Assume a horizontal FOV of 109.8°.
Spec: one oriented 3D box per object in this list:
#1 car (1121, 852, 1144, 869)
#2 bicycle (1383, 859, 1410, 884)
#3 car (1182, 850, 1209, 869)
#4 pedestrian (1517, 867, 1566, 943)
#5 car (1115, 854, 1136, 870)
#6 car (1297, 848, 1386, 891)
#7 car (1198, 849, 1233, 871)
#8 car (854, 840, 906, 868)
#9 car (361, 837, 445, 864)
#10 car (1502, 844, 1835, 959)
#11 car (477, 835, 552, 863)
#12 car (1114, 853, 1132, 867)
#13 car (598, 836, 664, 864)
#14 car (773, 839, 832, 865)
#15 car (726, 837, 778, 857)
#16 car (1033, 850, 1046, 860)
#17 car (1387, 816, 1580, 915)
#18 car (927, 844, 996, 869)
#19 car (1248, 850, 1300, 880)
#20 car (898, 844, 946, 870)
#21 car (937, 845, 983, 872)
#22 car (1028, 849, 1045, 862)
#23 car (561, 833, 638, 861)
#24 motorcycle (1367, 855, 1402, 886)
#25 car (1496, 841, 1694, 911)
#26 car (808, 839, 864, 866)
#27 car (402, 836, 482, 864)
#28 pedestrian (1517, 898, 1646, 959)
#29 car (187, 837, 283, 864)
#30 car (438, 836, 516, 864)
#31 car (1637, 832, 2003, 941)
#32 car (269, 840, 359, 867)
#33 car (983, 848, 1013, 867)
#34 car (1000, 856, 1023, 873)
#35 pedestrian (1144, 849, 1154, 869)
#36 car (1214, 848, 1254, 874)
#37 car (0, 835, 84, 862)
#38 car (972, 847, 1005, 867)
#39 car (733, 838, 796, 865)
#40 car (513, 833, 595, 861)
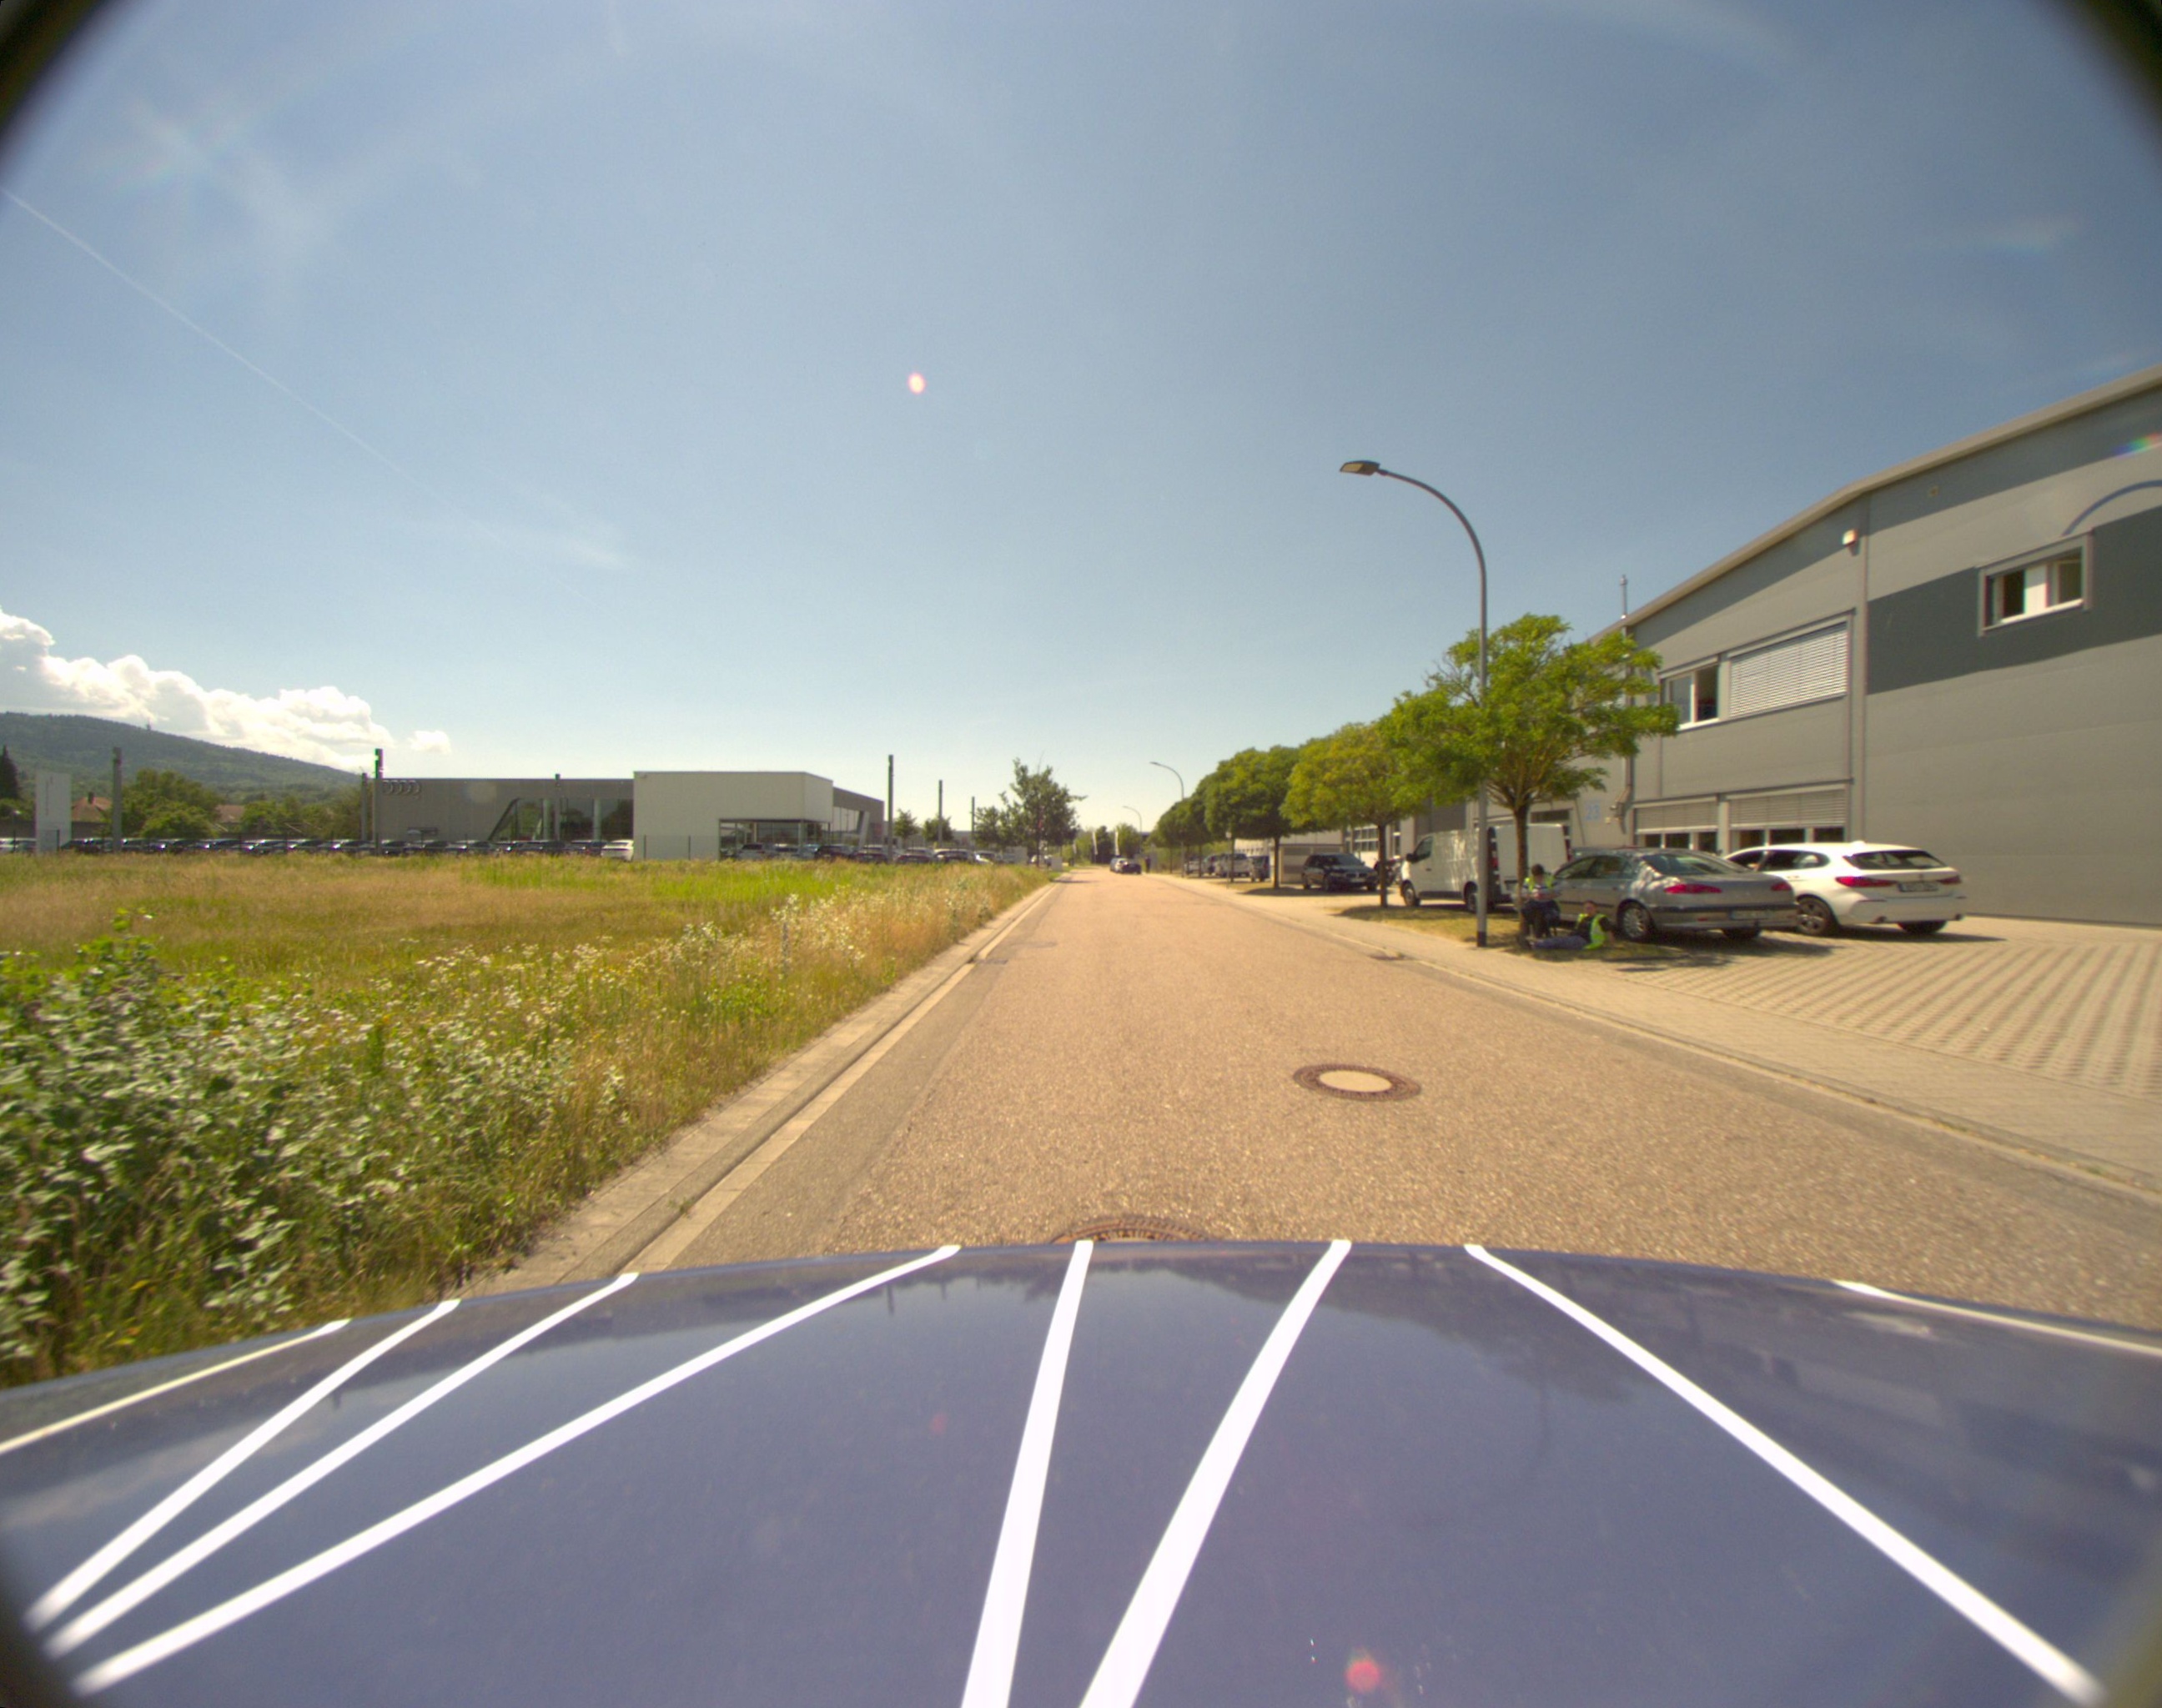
[{"bbox_3d":[4.752,0.569,70.122,1.829,1.491,4.525,1,0,0],"label":"car"},{"bbox_3d":[13.075,0.697,31.498,0.352,0.972,1.697,-2,0,-1],"label":"bicycle"},{"bbox_3d":[10.011,0.454,66.575,1.828,1.491,4.328,-2,0,2],"label":"car"},{"bbox_3d":[7.375,0.814,12.179,0.479,1.144,0.555,-3,3,11],"label":"pedestrian"},{"bbox_3d":[4.430,0.795,76.067,1.829,1.491,4.259,1,0,1],"label":"car"},{"bbox_3d":[9.771,0.551,28.937,1.770,1.445,4.714,-2,0,1],"label":"car"},{"bbox_3d":[9.799,0.424,55.543,1.687,1.491,3.703,0,0,-4],"label":"car"},{"bbox_3d":[-13.378,0.022,50.953,2.029,1.715,4.809,2,0,2],"label":"car"},{"bbox_3d":[-45.479,-0.234,51.079,1.998,1.774,4.000,1,0,0],"label":"car"},{"bbox_3d":[9.403,0.625,12.844,1.931,1.432,4.840,-3,1,1],"label":"car"},{"bbox_3d":[-37.868,-0.319,50.934,1.998,1.774,4.000,1,0,0],"label":"car"},{"bbox_3d":[4.785,0.672,87.511,1.829,1.491,4.520,1,0,1],"label":"car"},{"bbox_3d":[-29.976,-0.288,50.777,1.998,1.774,4.000,1,0,0],"label":"car"},{"bbox_3d":[-18.720,-0.118,51.265,2.029,1.644,4.809,2,0,2],"label":"car"},{"bbox_3d":[-26.507,-0.582,61.374,2.030,1.580,4.779,0,0,1],"label":"car"},{"bbox_3d":[-6.729,0.151,123.022,1.824,1.519,4.944,2,0,-1],"label":"car"},{"bbox_3d":[9.510,0.248,18.555,1.842,2.007,5.125,-2,0,-2],"label":"car"},{"bbox_3d":[-8.622,0.176,55.126,4.539,1.683,2.032,2,0,2],"label":"car"},{"bbox_3d":[10.001,0.523,39.624,1.770,1.445,3.840,-1,0,2],"label":"car"},{"bbox_3d":[-10.610,0.166,50.968,2.029,1.601,4.809,2,0,2],"label":"car"},{"bbox_3d":[-8.077,0.300,51.108,2.029,1.683,5.109,2,0,2],"label":"car"},{"bbox_3d":[-5.692,0.138,98.233,1.892,1.562,4.227,3,0,-1],"label":"car"},{"bbox_3d":[-32.428,-0.452,51.364,2.029,1.715,4.809,2,0,2],"label":"car"},{"bbox_3d":[12.215,0.643,30.659,0.516,1.155,2.081,-2,0,-1],"label":"motorcycle"},{"bbox_3d":[12.156,0.470,18.344,1.932,1.432,4.086,-2,0,-1],"label":"car"},{"bbox_3d":[-16.344,-0.091,50.935,2.029,1.670,4.809,2,0,2],"label":"car"},{"bbox_3d":[-42.855,-0.270,51.086,1.998,1.774,4.000,1,0,0],"label":"car"},{"bbox_3d":[7.275,1.076,11.104,1.361,0.744,0.753,-3,1,3],"label":"pedestrian"},{"bbox_3d":[-57.201,-0.242,51.465,1.998,1.774,4.000,1,0,0],"label":"car"},{"bbox_3d":[-40.466,-0.283,51.034,1.998,1.774,4.000,1,0,0],"label":"car"},{"bbox_3d":[12.081,0.460,12.971,1.931,1.456,4.465,-2,0,1],"label":"car"},{"bbox_3d":[-51.644,-0.051,51.296,1.998,1.774,4.000,1,0,0],"label":"car"},{"bbox_3d":[-7.356,0.272,67.829,2.030,1.505,5.239,3,0,1],"label":"car"},{"bbox_3d":[-7.232,1.099,79.545,1.966,1.448,4.984,2,2,0],"label":"car"},{"bbox_3d":[6.210,0.461,69.300,0.746,1.791,1.135,-2,0,2],"label":"pedestrian"},{"bbox_3d":[10.042,0.429,50.206,1.770,1.564,4.540,-1,0,1],"label":"car"},{"bbox_3d":[-71.049,-0.389,51.351,1.998,1.774,4.000,1,0,0],"label":"car"},{"bbox_3d":[-7.544,0.252,62.481,2.030,1.564,4.779,2,0,1],"label":"car"},{"bbox_3d":[-21.264,-0.155,51.273,2.029,1.644,4.809,2,0,2],"label":"car"},{"bbox_3d":[-35.305,-0.449,51.054,2.029,1.715,4.809,2,0,2],"label":"car"}]
